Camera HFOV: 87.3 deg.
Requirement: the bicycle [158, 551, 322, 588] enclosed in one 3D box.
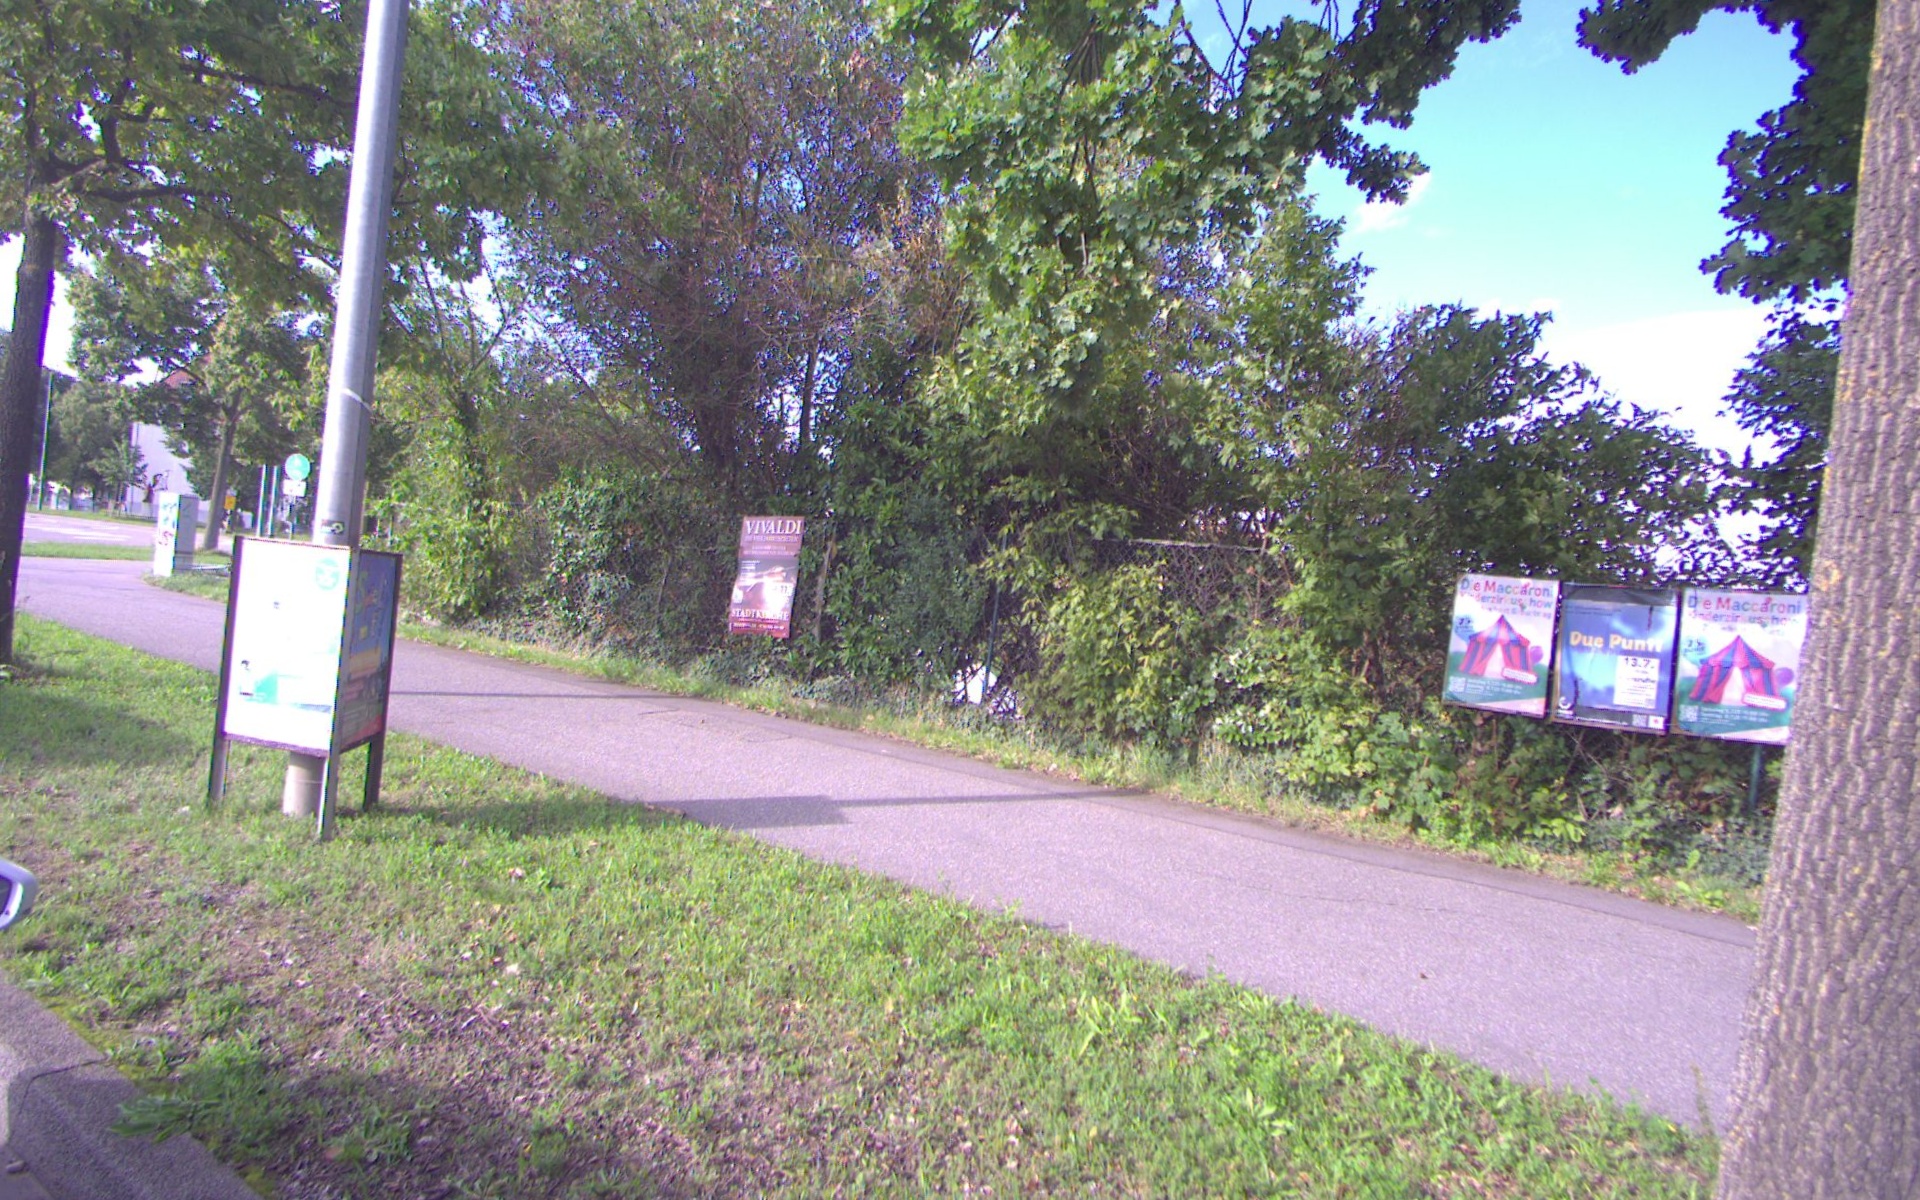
[{"bbox_3d":[-13.964,-0.587,19.528,2.529,0.390,1.411,7,0,21],"label":"bicycle"}]
